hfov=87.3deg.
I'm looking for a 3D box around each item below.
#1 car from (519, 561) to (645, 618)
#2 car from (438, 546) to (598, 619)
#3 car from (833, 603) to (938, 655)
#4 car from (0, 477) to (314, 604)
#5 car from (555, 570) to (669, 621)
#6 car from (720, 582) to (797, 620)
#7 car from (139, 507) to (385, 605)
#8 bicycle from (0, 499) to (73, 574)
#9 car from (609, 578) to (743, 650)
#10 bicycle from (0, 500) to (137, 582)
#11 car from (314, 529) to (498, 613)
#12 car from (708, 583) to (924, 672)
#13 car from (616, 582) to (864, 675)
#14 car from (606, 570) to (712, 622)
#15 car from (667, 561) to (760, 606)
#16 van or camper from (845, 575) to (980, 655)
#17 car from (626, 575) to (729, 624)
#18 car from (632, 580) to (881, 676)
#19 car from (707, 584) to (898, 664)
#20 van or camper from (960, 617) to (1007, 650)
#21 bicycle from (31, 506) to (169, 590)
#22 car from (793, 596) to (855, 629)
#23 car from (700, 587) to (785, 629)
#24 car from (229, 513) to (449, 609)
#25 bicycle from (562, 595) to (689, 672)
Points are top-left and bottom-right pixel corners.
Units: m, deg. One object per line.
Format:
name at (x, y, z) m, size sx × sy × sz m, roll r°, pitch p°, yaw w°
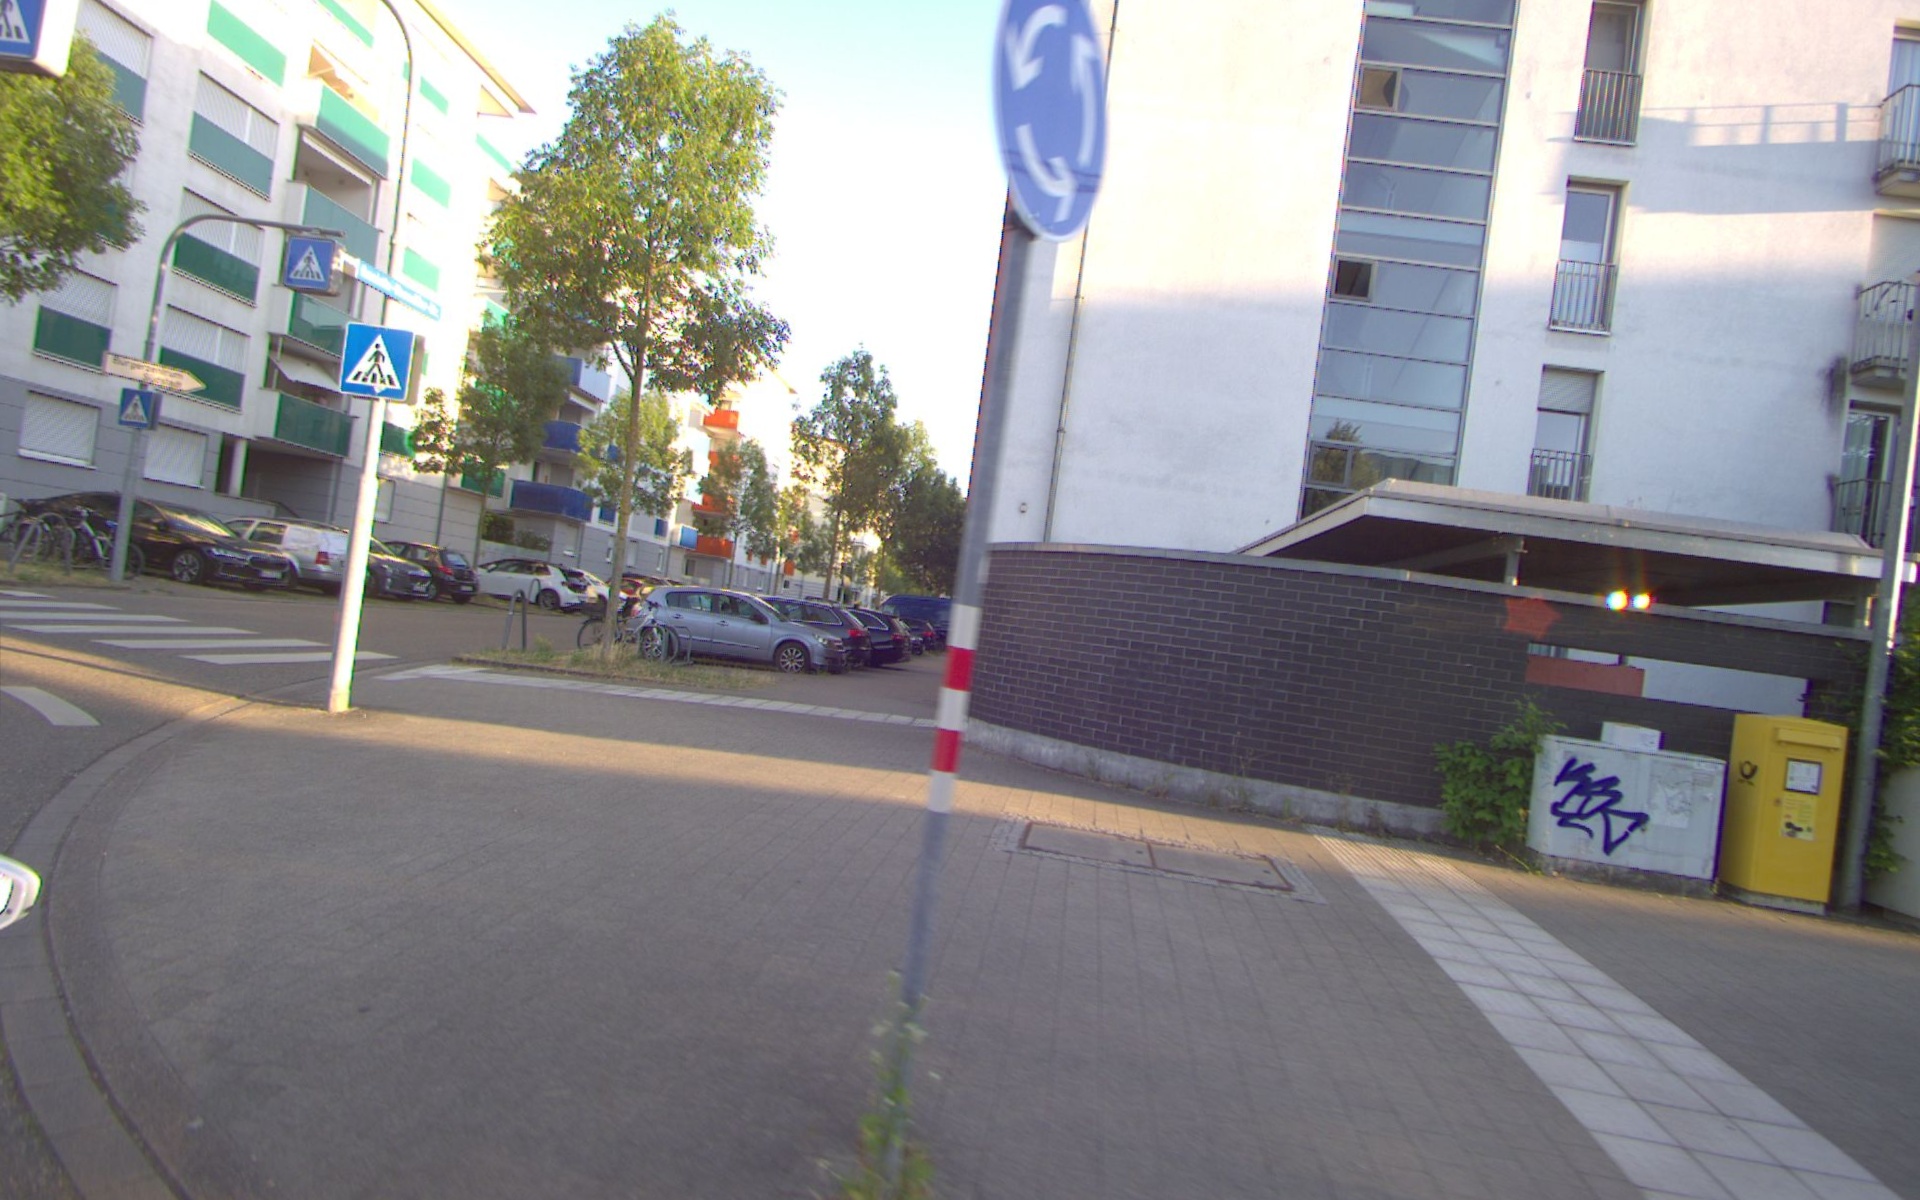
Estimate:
car at (-14.000, -0.371, 37.417) m, size 3.850 × 1.359 × 1.725 m, roll 10°, pitch -1°, yaw 0°
car at (-14.130, -0.534, 32.334) m, size 4.219 × 1.525 × 1.687 m, roll 10°, pitch -1°, yaw 1°
car at (-3.041, 1.198, 41.445) m, size 4.028 × 1.645 × 1.725 m, roll 7°, pitch -1°, yaw 0°
car at (-15.653, -1.116, 19.681) m, size 4.800 × 1.474 × 1.940 m, roll 10°, pitch -1°, yaw 7°
car at (-14.565, -0.156, 42.222) m, size 4.031 × 1.377 × 1.667 m, roll 10°, pitch -1°, yaw 0°
car at (-12.543, 0.080, 62.664) m, size 4.175 × 1.553 × 1.694 m, roll 10°, pitch -1°, yaw 6°
car at (-15.414, -0.948, 22.313) m, size 4.331 × 1.525 × 1.745 m, roll 7°, pitch -2°, yaw 8°
bicycle at (-15.896, -1.126, 16.668) m, size 1.761 × 1.053 × 0.567 m, roll 10°, pitch -1°, yaw 1°
car at (-8.718, 0.396, 30.753) m, size 4.117 × 1.479 × 1.773 m, roll 9°, pitch -2°, yaw 39°
bicycle at (-15.773, -1.026, 17.732) m, size 1.999 × 1.058 × 0.474 m, roll 10°, pitch -1°, yaw 1°
car at (-15.245, -0.792, 27.752) m, size 4.216 × 1.474 × 1.745 m, roll 10°, pitch -1°, yaw 13°
car at (-3.394, 0.662, 24.033) m, size 4.697 × 1.573 × 1.713 m, roll 5°, pitch -1°, yaw 8°
car at (-4.076, 0.544, 19.056) m, size 4.212 × 1.475 × 1.682 m, roll 3°, pitch -2°, yaw 3°
car at (-13.357, -0.165, 44.753) m, size 4.031 × 1.526 × 1.667 m, roll 10°, pitch -1°, yaw 0°
car at (-12.678, -0.822, 51.944) m, size 4.178 × 1.526 × 1.753 m, roll 10°, pitch -1°, yaw 0°
van or camper at (-2.266, 0.743, 49.639) m, size 6.200 × 3.124 × 2.443 m, roll 7°, pitch -1°, yaw 0°
car at (-13.289, 0.001, 47.500) m, size 4.178 × 1.526 × 1.753 m, roll 10°, pitch -1°, yaw 0°
car at (-4.250, 0.612, 21.500) m, size 4.825 × 1.496 × 1.712 m, roll 6°, pitch -1°, yaw 3°
car at (-4.135, 0.661, 26.886) m, size 4.673 × 1.604 × 1.760 m, roll 6°, pitch -1°, yaw 1°
van or camper at (2.389, 3.401, 101.493) m, size 4.175 × 2.563 × 1.762 m, roll 10°, pitch -1°, yaw 6°
bicycle at (-14.699, -0.880, 17.208) m, size 1.807 × 1.084 × 0.474 m, roll 10°, pitch -1°, yaw 1°
car at (-10.371, 0.960, 76.611) m, size 4.175 × 1.799 × 1.694 m, roll 10°, pitch -1°, yaw 6°
car at (-12.311, 0.475, 57.043) m, size 4.175 × 1.553 × 1.694 m, roll 10°, pitch -1°, yaw 6°
car at (-15.175, -0.924, 24.718) m, size 4.218 × 1.510 × 1.744 m, roll 10°, pitch -1°, yaw 4°
bicycle at (-5.399, 0.545, 16.301) m, size 1.788 × 1.079 × 0.567 m, roll 4°, pitch -1°, yaw 2°
